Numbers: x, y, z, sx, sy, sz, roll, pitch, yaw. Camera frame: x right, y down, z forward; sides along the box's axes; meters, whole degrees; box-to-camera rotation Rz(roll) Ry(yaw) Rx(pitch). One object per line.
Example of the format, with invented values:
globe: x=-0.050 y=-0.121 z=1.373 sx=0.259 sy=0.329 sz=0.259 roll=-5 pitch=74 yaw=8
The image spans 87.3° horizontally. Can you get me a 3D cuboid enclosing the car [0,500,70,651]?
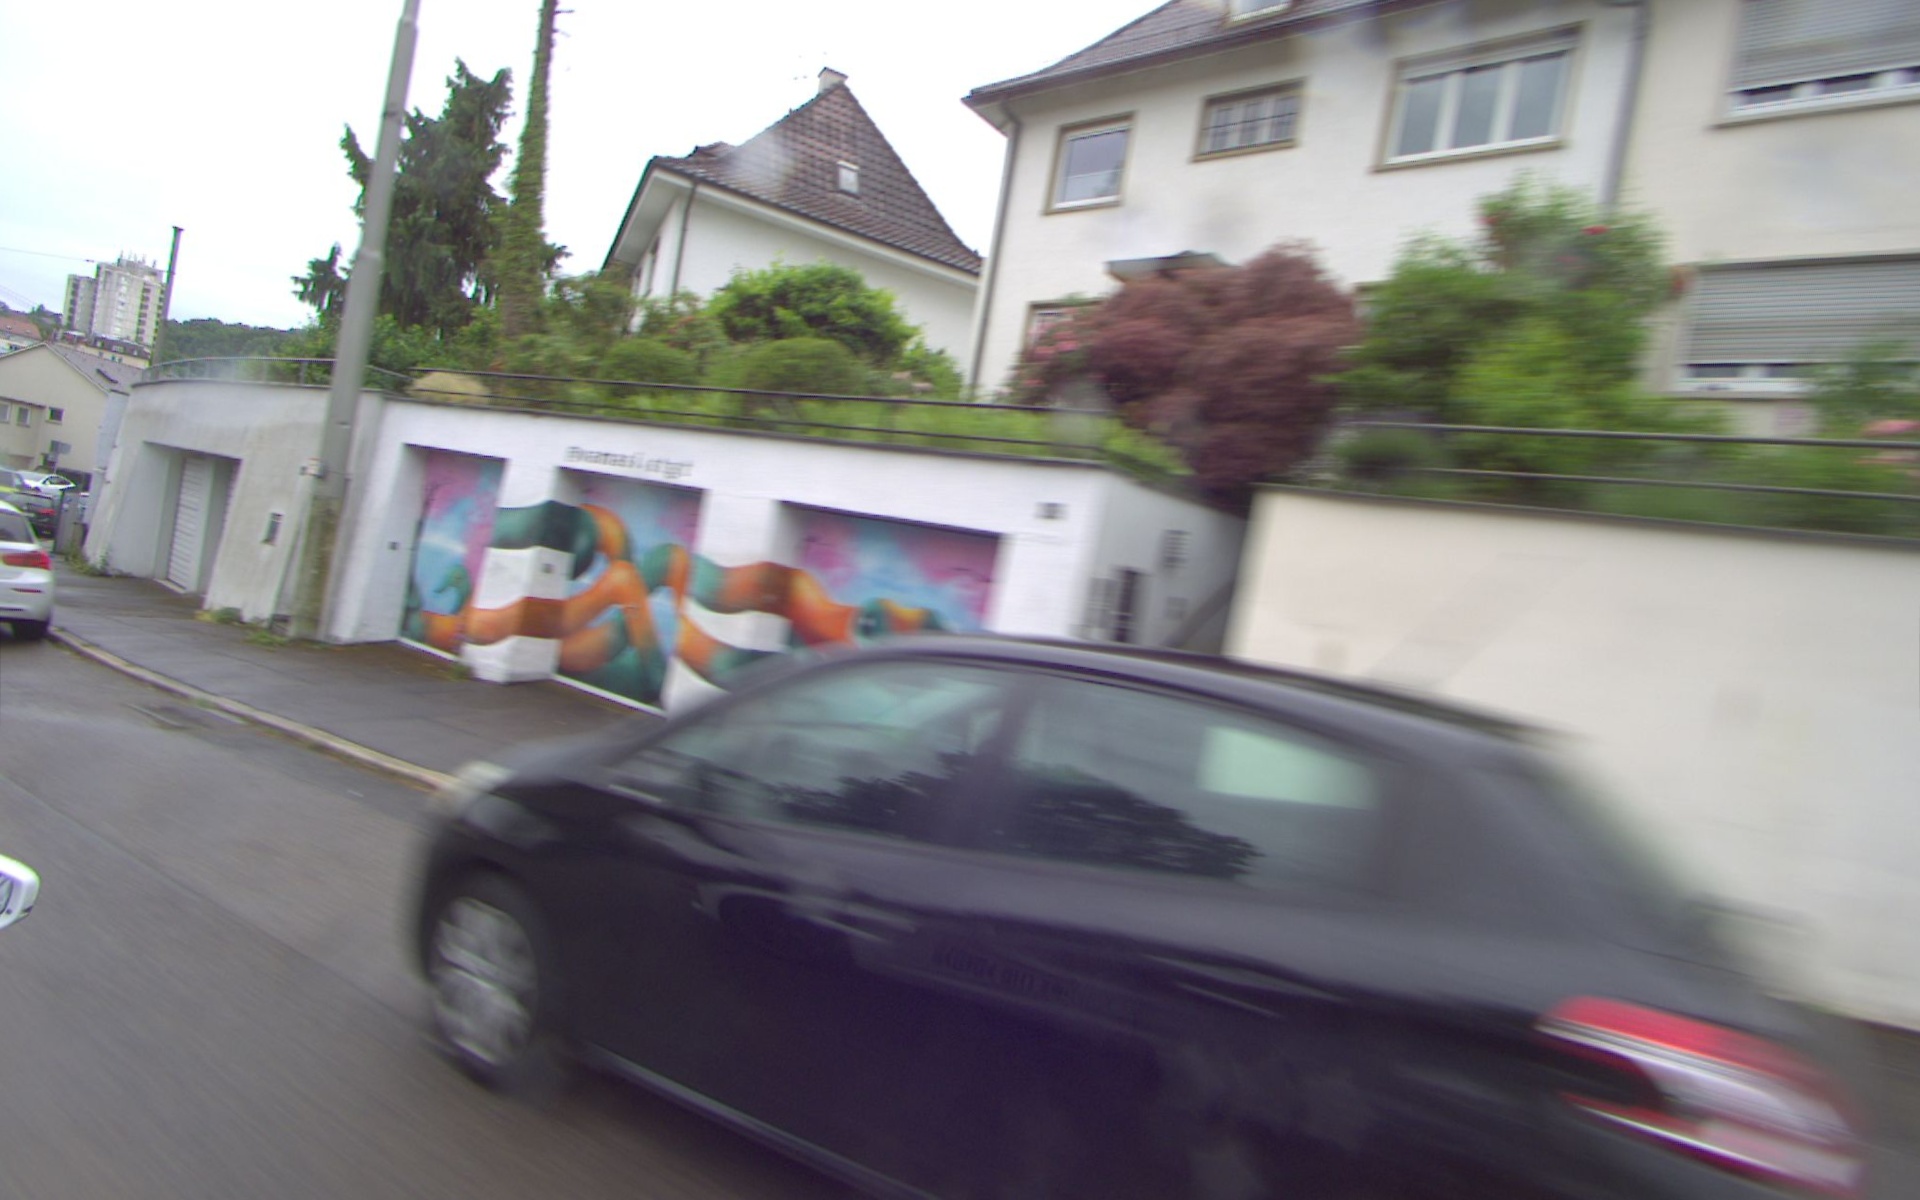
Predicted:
car: x=-11.113 y=-0.453 z=10.593 sx=3.979 sy=1.431 sz=1.706 roll=6 pitch=-1 yaw=36

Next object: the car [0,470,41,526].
car: x=-36.811 y=-4.034 z=37.426 sx=2.288 sy=1.961 sz=4.302 roll=11 pitch=-2 yaw=-22

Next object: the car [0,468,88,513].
car: x=-49.438 y=-5.879 z=53.849 sx=1.906 sy=1.648 sz=4.669 roll=11 pitch=-2 yaw=-11

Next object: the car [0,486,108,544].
car: x=-31.634 y=-2.908 z=34.936 sx=1.664 sy=1.499 sz=4.180 roll=11 pitch=-3 yaw=-22

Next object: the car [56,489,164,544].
car: x=-33.887 y=-3.272 z=40.261 sx=1.786 sy=1.667 sz=4.190 roll=11 pitch=-2 yaw=-21

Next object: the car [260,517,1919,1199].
car: x=-0.061 y=0.755 z=3.020 sx=3.932 sy=1.531 sz=1.717 roll=7 pitch=-1 yaw=30
